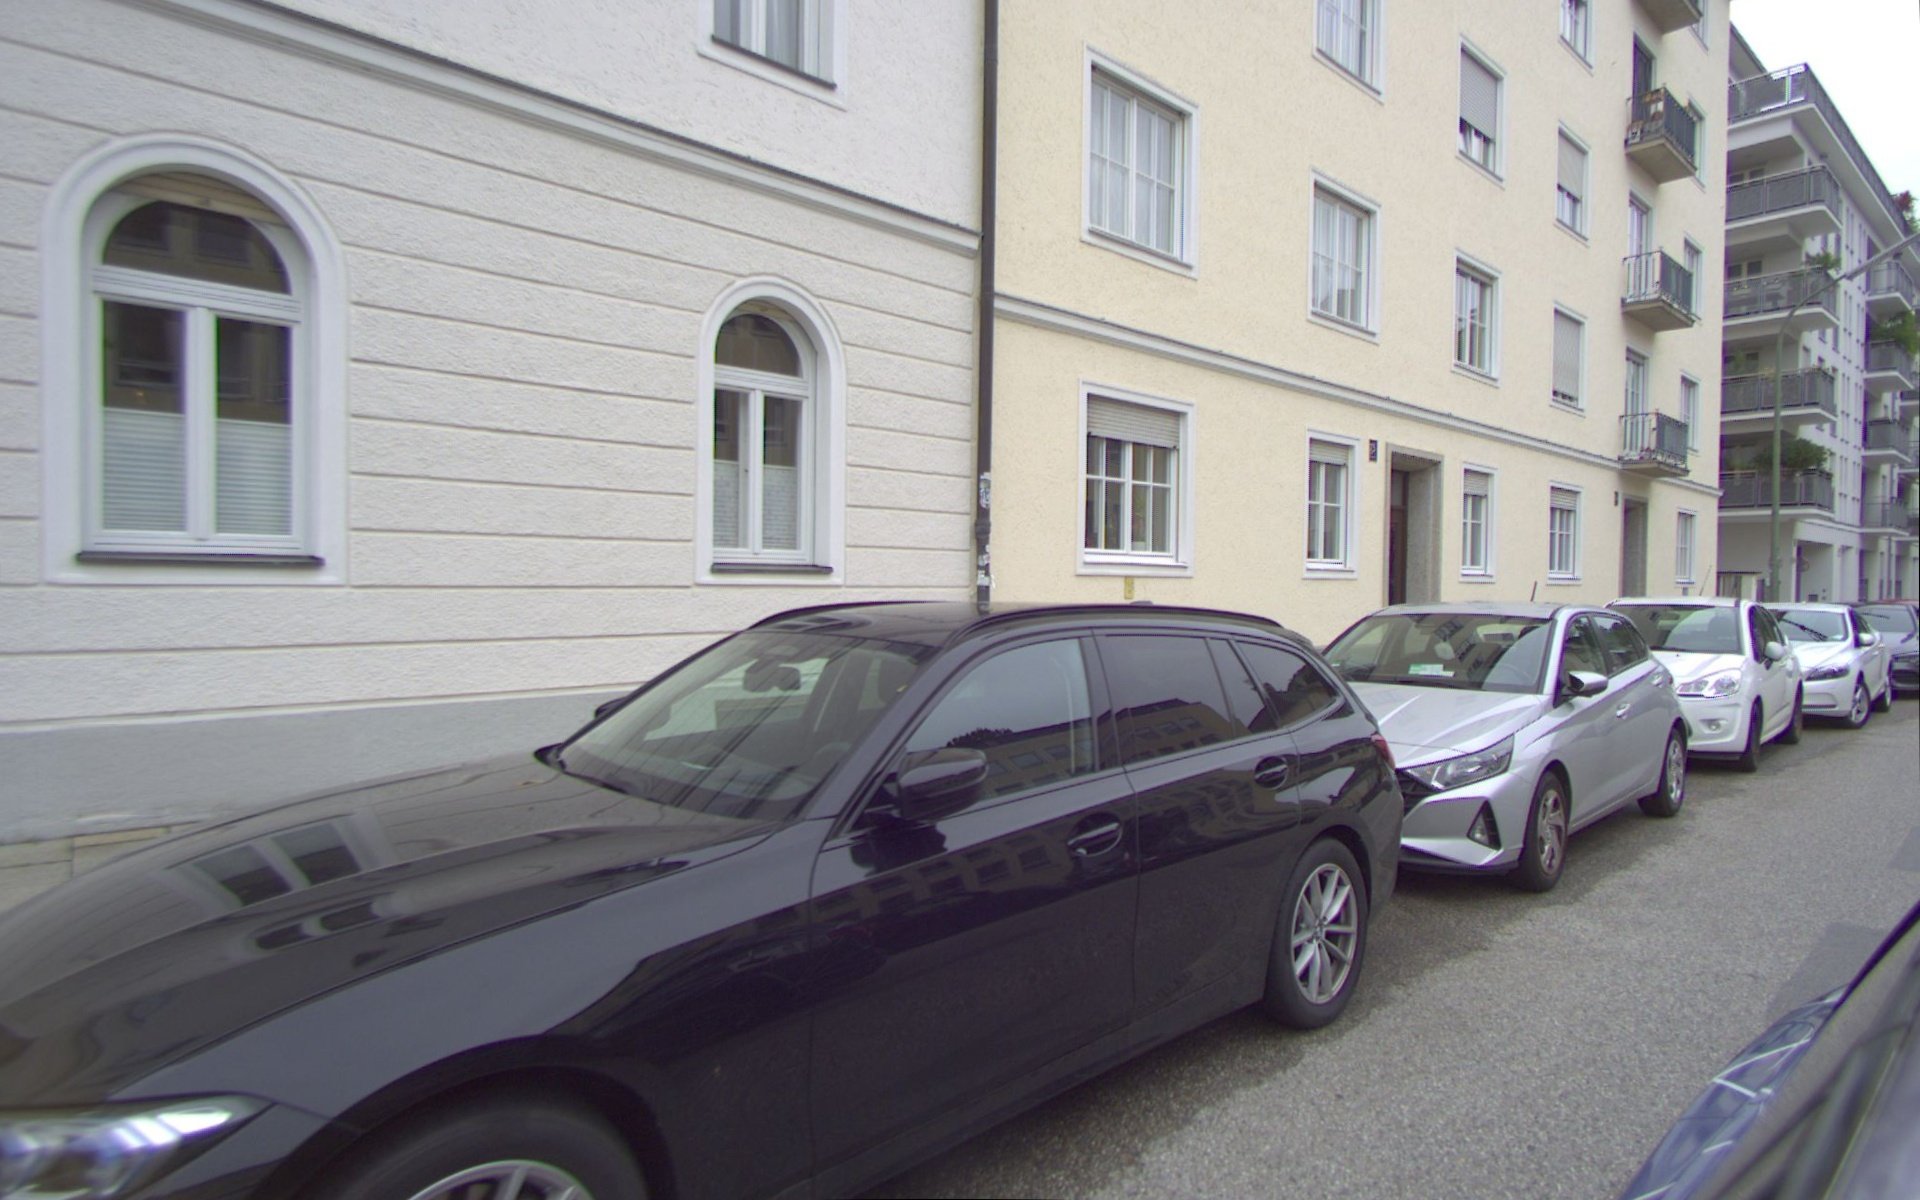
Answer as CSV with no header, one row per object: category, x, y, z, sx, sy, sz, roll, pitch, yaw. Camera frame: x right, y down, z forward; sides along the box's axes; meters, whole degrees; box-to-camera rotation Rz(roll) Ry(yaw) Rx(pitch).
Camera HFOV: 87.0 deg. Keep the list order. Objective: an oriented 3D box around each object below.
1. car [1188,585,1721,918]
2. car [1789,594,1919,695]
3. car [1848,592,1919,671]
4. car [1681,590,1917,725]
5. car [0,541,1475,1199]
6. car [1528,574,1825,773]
car,3.384,0.663,6.511,4.116,1.468,1.726,0,0,-43
car,15.188,0.641,16.611,4.535,1.448,1.775,0,0,-42
car,18.824,0.577,19.886,3.691,1.448,1.657,0,0,-42
car,10.787,0.607,12.903,4.220,1.448,1.727,0,0,-42
car,-0.244,0.657,3.267,4.597,1.468,1.878,0,0,-42
car,7.142,0.574,9.935,3.926,1.563,1.652,0,0,-43
